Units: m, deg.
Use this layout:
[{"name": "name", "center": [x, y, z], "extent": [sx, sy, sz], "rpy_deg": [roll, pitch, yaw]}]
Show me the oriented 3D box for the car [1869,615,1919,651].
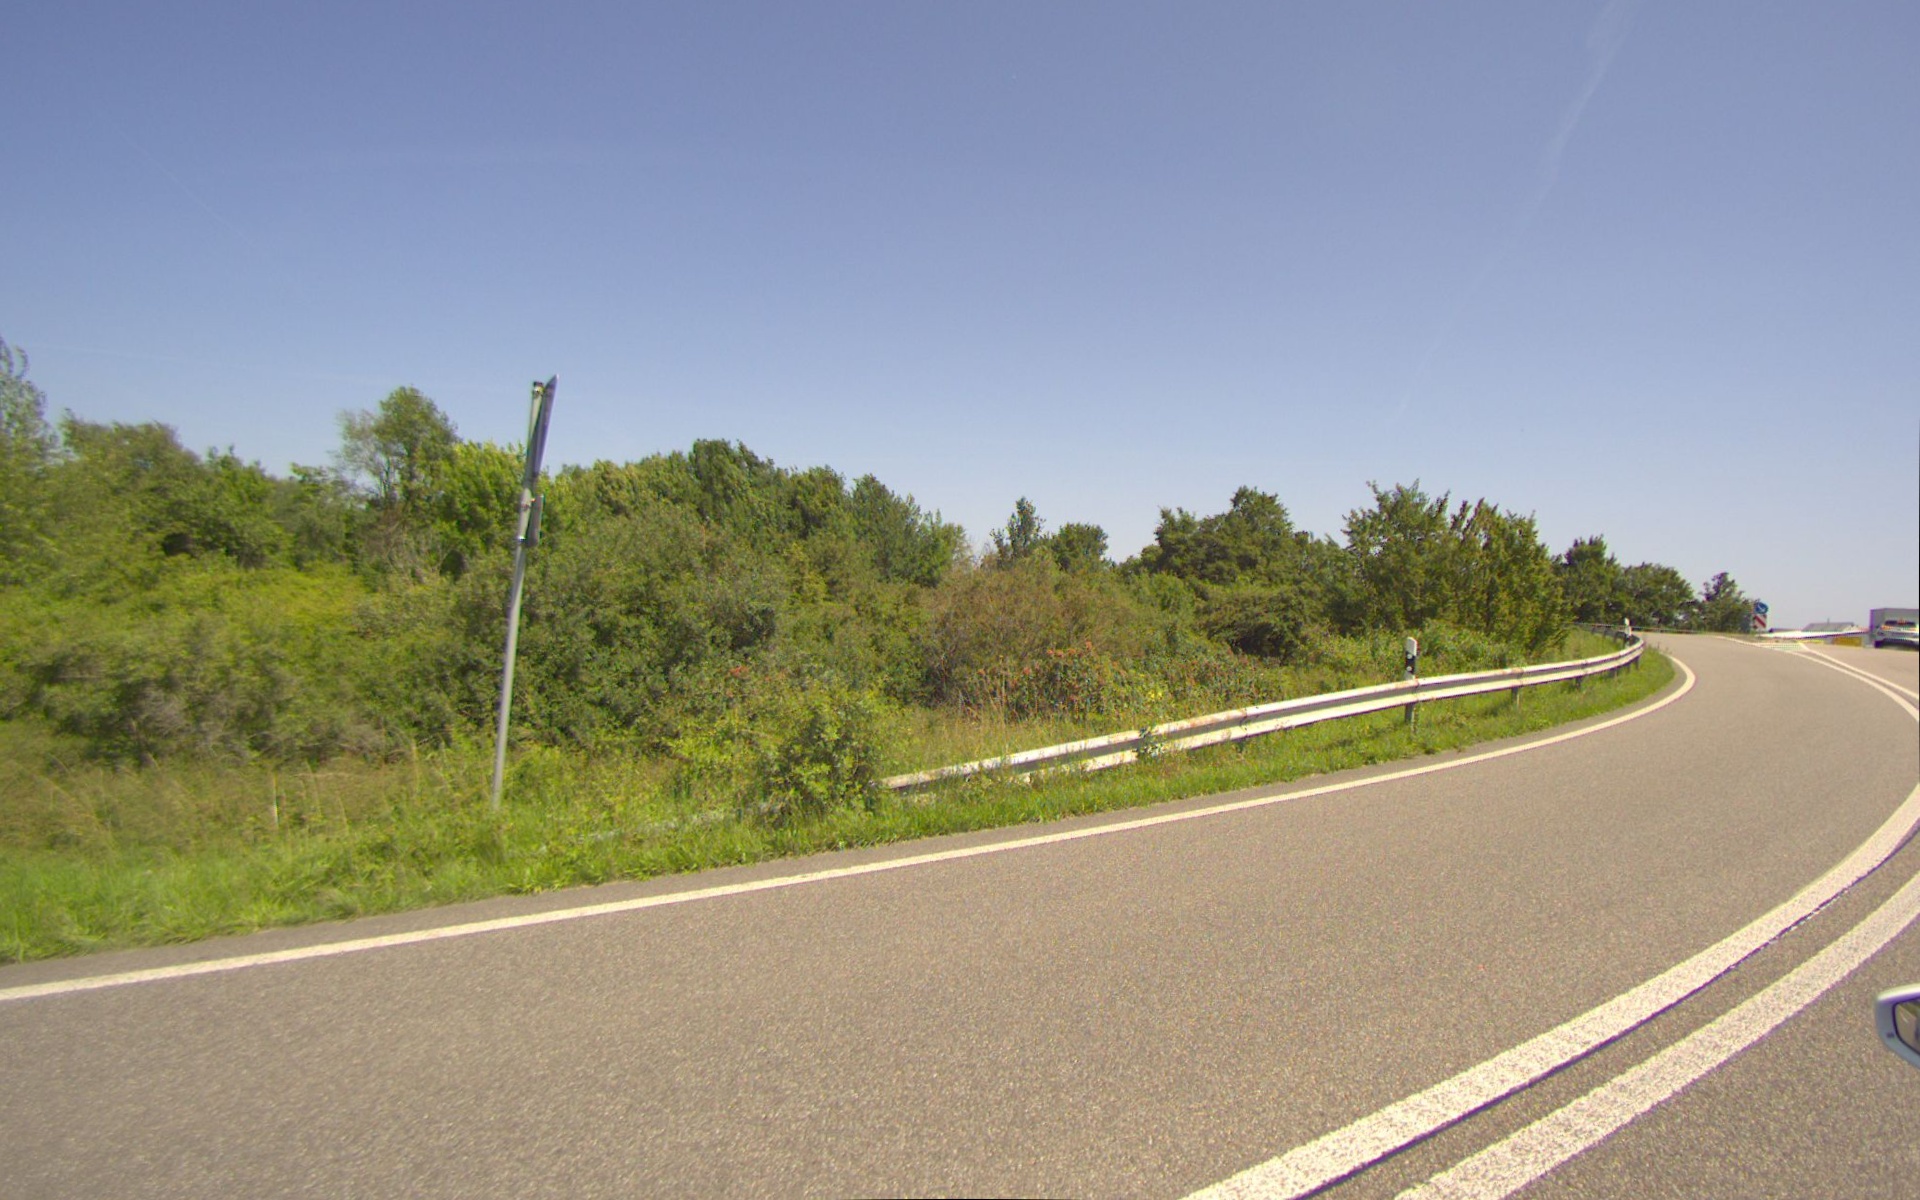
[{"name": "car", "center": [48.481, 1.708, 52.047], "extent": [3.974, 1.713, 1.790], "rpy_deg": [4, -2, -44]}]
